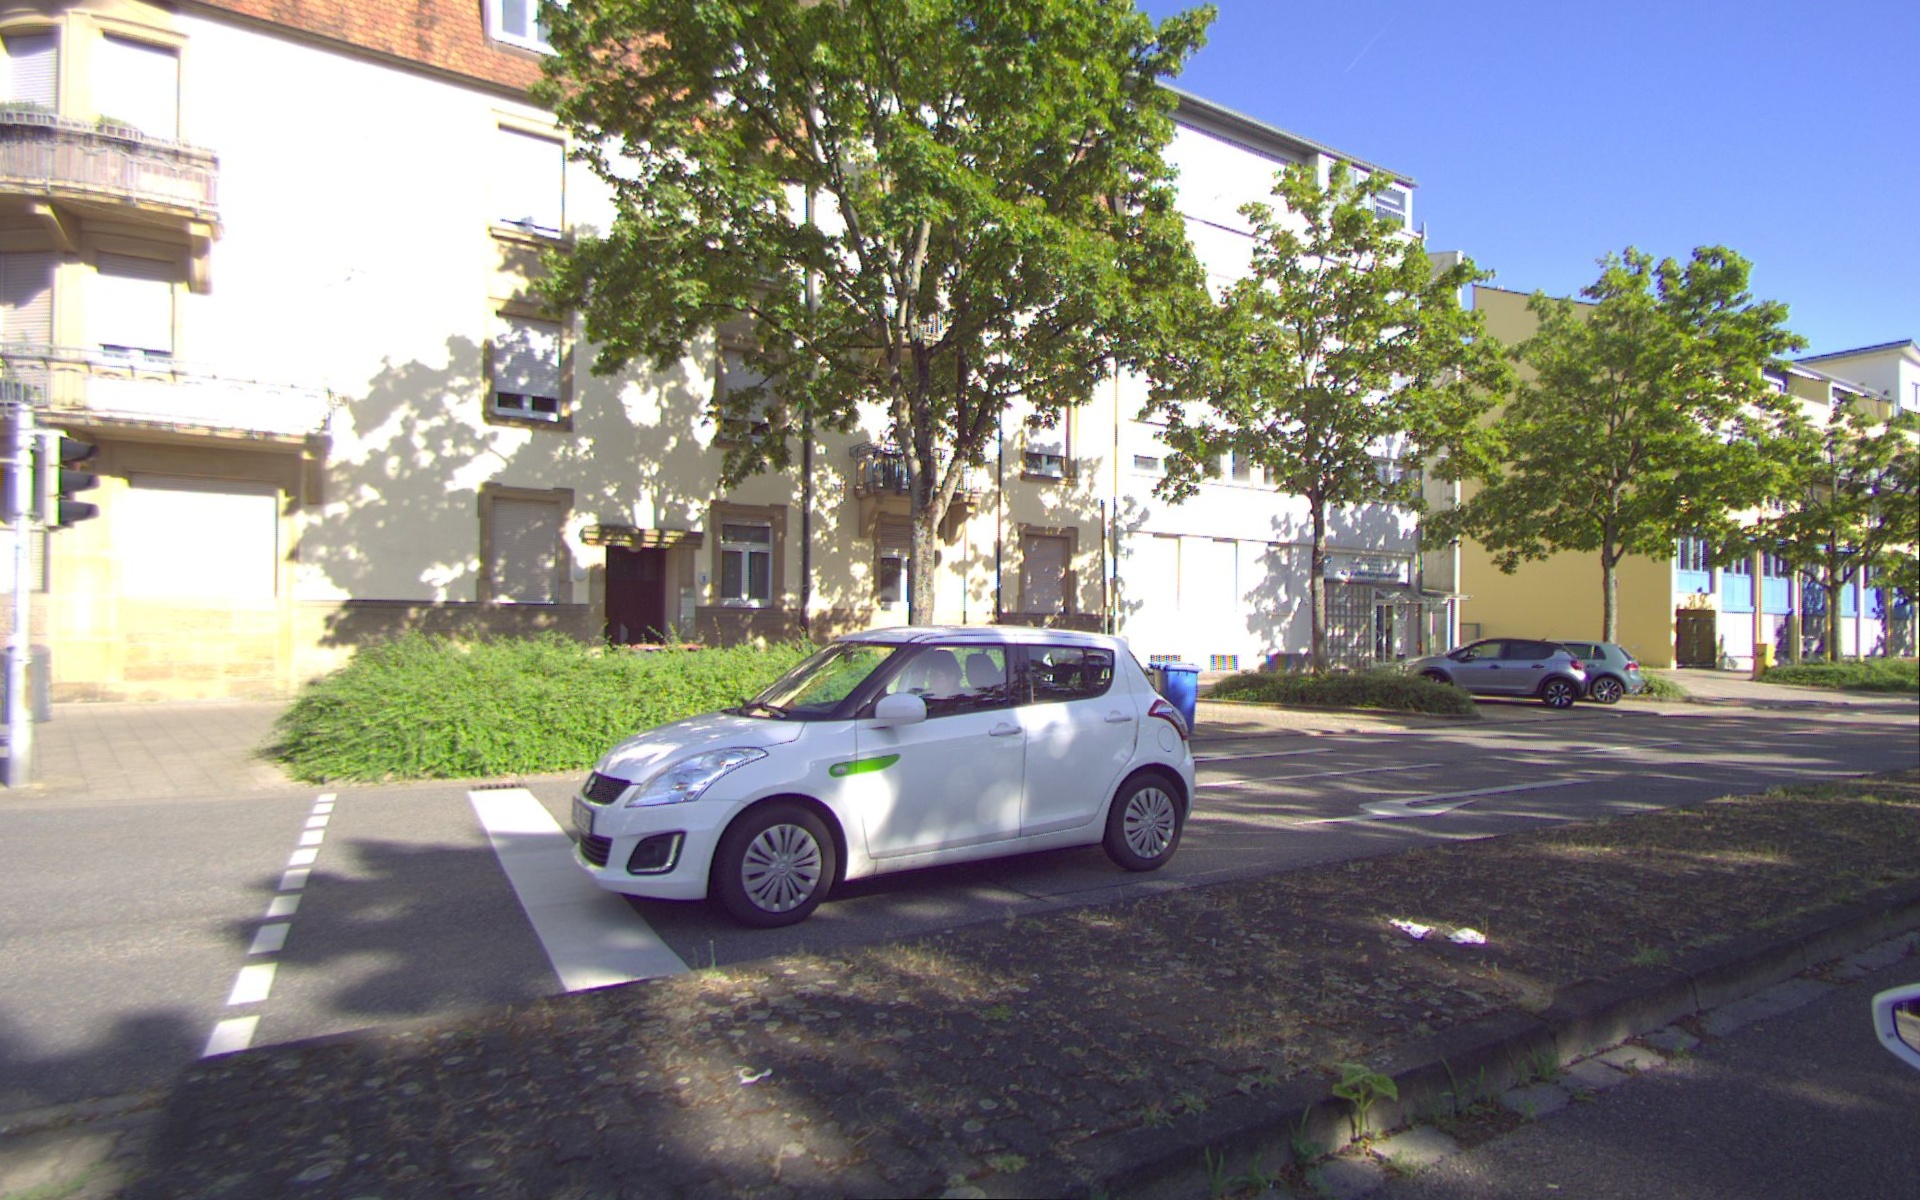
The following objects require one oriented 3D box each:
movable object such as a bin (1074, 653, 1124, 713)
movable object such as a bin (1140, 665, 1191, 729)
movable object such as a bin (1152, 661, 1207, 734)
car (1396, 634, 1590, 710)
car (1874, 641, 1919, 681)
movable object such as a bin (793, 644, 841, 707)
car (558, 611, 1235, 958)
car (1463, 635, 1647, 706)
[{"bbox_3d":[2.245,1.332,16.259,0.629,0.925,0.513,1,-1,-22],"label":"movable object such as a bin"},{"bbox_3d":[3.348,1.562,16.354,0.629,0.989,0.513,1,-1,-22],"label":"movable object such as a bin"},{"bbox_3d":[3.356,1.476,15.345,0.629,1.061,0.513,1,0,-22],"label":"movable object such as a bin"},{"bbox_3d":[12.222,1.611,23.259,3.814,1.530,1.826,1,-2,27],"label":"car"},{"bbox_3d":[39.669,2.469,40.167,4.348,1.572,1.916,-1,-2,34],"label":"car"},{"bbox_3d":[-2.435,1.269,17.038,0.629,1.013,0.781,1,-1,-21],"label":"movable object such as a bin"},{"bbox_3d":[-0.312,0.892,6.190,3.818,1.532,1.697,1,-3,-31],"label":"car"},{"bbox_3d":[14.667,1.699,25.015,3.814,1.530,1.826,1,-2,27],"label":"car"}]
